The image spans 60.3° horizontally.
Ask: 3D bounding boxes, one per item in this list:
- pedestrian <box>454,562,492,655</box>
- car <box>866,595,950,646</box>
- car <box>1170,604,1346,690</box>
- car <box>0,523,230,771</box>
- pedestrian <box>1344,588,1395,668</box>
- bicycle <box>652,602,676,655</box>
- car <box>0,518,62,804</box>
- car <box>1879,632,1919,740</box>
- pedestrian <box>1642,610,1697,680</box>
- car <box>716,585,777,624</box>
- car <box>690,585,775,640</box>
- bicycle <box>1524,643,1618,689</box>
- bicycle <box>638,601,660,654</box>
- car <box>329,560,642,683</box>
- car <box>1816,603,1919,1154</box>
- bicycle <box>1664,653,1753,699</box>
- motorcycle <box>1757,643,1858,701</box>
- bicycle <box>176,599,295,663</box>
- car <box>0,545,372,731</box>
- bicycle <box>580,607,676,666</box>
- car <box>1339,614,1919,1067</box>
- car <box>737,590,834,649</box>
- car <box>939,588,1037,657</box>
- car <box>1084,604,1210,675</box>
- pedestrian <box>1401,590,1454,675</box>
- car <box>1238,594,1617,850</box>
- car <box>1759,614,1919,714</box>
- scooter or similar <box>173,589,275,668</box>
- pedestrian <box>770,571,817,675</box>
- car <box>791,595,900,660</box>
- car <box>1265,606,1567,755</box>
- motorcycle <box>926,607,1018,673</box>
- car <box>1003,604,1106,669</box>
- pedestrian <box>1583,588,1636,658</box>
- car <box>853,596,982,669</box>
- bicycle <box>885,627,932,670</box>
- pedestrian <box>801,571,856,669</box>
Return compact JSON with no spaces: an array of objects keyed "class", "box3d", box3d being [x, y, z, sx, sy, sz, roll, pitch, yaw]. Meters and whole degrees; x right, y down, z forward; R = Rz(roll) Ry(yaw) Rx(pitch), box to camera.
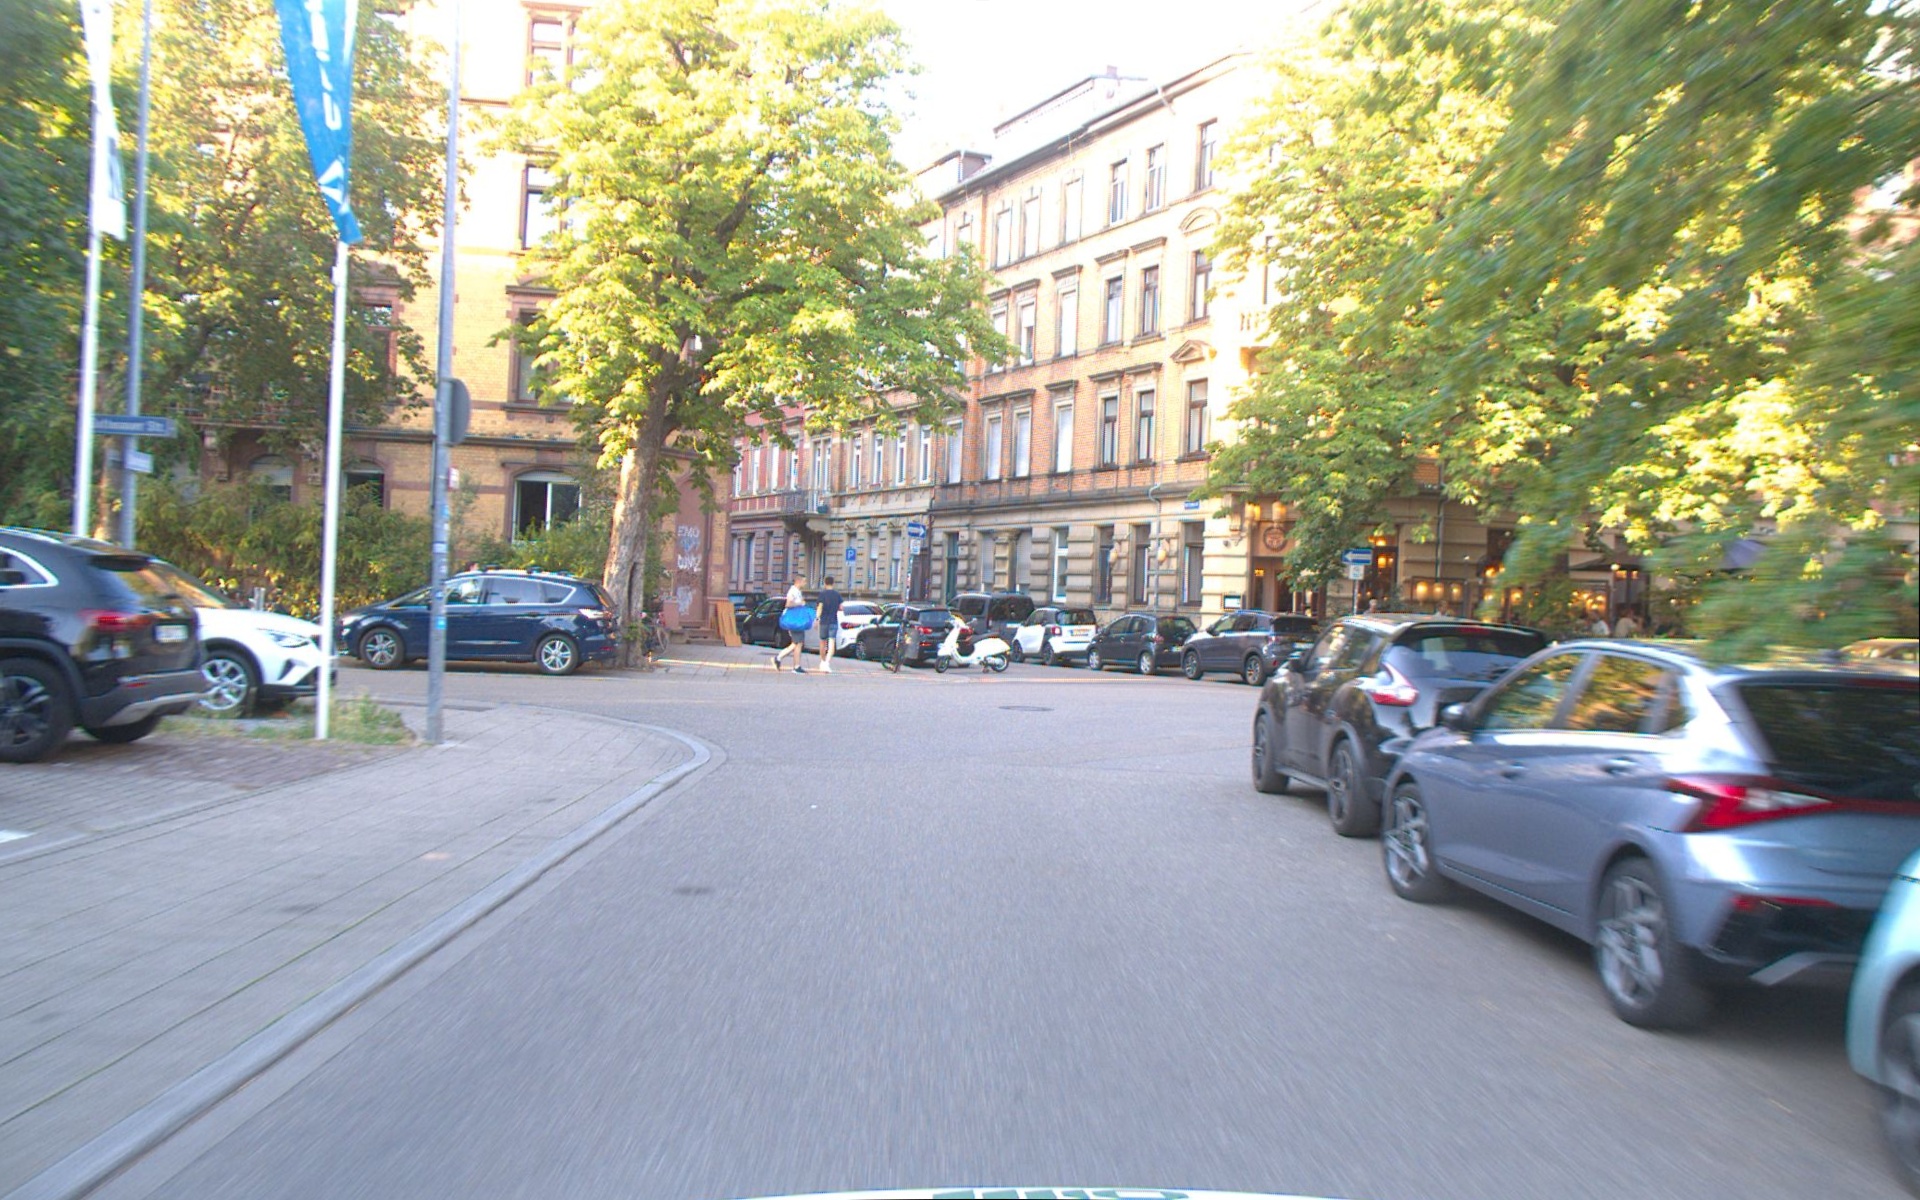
[{"class":"pedestrian","box3d":[-8.956,0.152,30.431,0.532,1.663,0.447,2,1,-5]},{"class":"car","box3d":[-1.704,0.630,53.226,1.653,1.456,2.992,3,0,-25]},{"class":"car","box3d":[6.490,1.000,36.412,1.889,1.552,3.867,3,1,-25]},{"class":"car","box3d":[-7.700,0.241,11.976,3.986,1.646,1.764,2,1,-3]},{"class":"pedestrian","box3d":[9.683,0.656,39.130,0.828,1.835,0.771,2,1,-21]},{"class":"bicycle","box3d":[-6.264,0.588,35.073,0.312,1.046,1.676,2,1,-5]},{"class":"car","box3d":[-7.502,0.219,9.023,4.047,1.646,1.912,4,1,-3]},{"class":"car","box3d":[15.693,1.334,23.900,3.884,1.557,1.878,3,-3,-7]},{"class":"pedestrian","box3d":[15.713,0.993,36.641,0.759,1.507,0.760,2,1,-11]},{"class":"car","box3d":[-8.854,0.175,68.424,1.653,1.456,2.992,3,0,-25]},{"class":"car","box3d":[-7.402,0.380,53.501,1.633,1.551,3.867,3,1,-24]},{"class":"bicycle","box3d":[12.784,1.380,34.595,1.934,0.900,0.399,2,1,-14]},{"class":"bicycle","box3d":[-6.569,0.570,34.949,0.237,1.046,1.676,2,1,-5]},{"class":"car","box3d":[-7.901,0.335,27.938,4.737,1.762,1.918,3,1,-7]},{"class":"car","box3d":[3.561,0.795,3.294,1.662,1.502,3.557,2,0,-4]},{"class":"bicycle","box3d":[15.666,1.591,34.619,1.842,0.900,0.399,2,1,-14]},{"class":"motorcycle","box3d":[17.742,1.495,34.642,1.794,1.100,0.519,2,1,6]},{"class":"bicycle","box3d":[-12.458,0.543,28.463,1.831,1.046,0.442,2,1,-25]},{"class":"car","box3d":[-8.202,0.329,16.454,3.967,1.500,1.919,4,1,-5]},{"class":"bicycle","box3d":[-6.139,0.681,30.593,1.650,1.046,0.442,2,1,-25]},{"class":"car","box3d":[3.298,0.870,7.854,1.662,1.502,4.208,2,0,-5]},{"class":"car","box3d":[-5.117,0.540,48.214,1.633,1.455,3.867,3,1,-24]},{"class":"car","box3d":[0.772,0.632,47.953,1.653,1.813,2.992,3,0,-25]},{"class":"car","box3d":[4.568,0.958,40.858,1.653,1.552,3.219,2,1,-25]},{"class":"pedestrian","box3d":[10.486,0.720,37.083,0.760,1.835,0.840,2,1,-15]},{"class":"car","box3d":[3.376,0.797,12.724,1.661,1.598,3.970,2,0,-1]},{"class":"car","box3d":[17.086,1.205,30.721,3.685,1.633,1.625,3,2,-7]},{"class":"scooter or similar","box3d":[-12.117,0.475,27.263,1.493,1.245,0.442,2,1,-25]},{"class":"pedestrian","box3d":[-3.109,0.416,30.979,0.799,1.884,0.802,2,1,-5]},{"class":"car","box3d":[-3.098,0.703,43.958,1.632,1.455,4.139,3,1,-22]},{"class":"car","box3d":[5.517,0.918,19.731,1.849,1.492,3.946,4,1,42]},{"class":"motorcycle","box3d":[0.257,0.877,36.116,1.897,1.364,0.576,2,1,-11]},{"class":"car","box3d":[2.513,0.957,44.519,1.653,1.552,2.746,3,0,-25]},{"class":"pedestrian","box3d":[14.335,0.506,36.504,0.759,1.507,0.759,2,1,-12]},{"class":"car","box3d":[-1.063,0.750,39.488,1.633,1.455,3.961,3,1,-24]},{"class":"bicycle","box3d":[-1.052,0.987,33.983,0.416,0.836,1.462,2,1,21]},{"class":"pedestrian","box3d":[-2.556,0.379,31.966,0.724,1.835,1.115,2,1,-21]}]
